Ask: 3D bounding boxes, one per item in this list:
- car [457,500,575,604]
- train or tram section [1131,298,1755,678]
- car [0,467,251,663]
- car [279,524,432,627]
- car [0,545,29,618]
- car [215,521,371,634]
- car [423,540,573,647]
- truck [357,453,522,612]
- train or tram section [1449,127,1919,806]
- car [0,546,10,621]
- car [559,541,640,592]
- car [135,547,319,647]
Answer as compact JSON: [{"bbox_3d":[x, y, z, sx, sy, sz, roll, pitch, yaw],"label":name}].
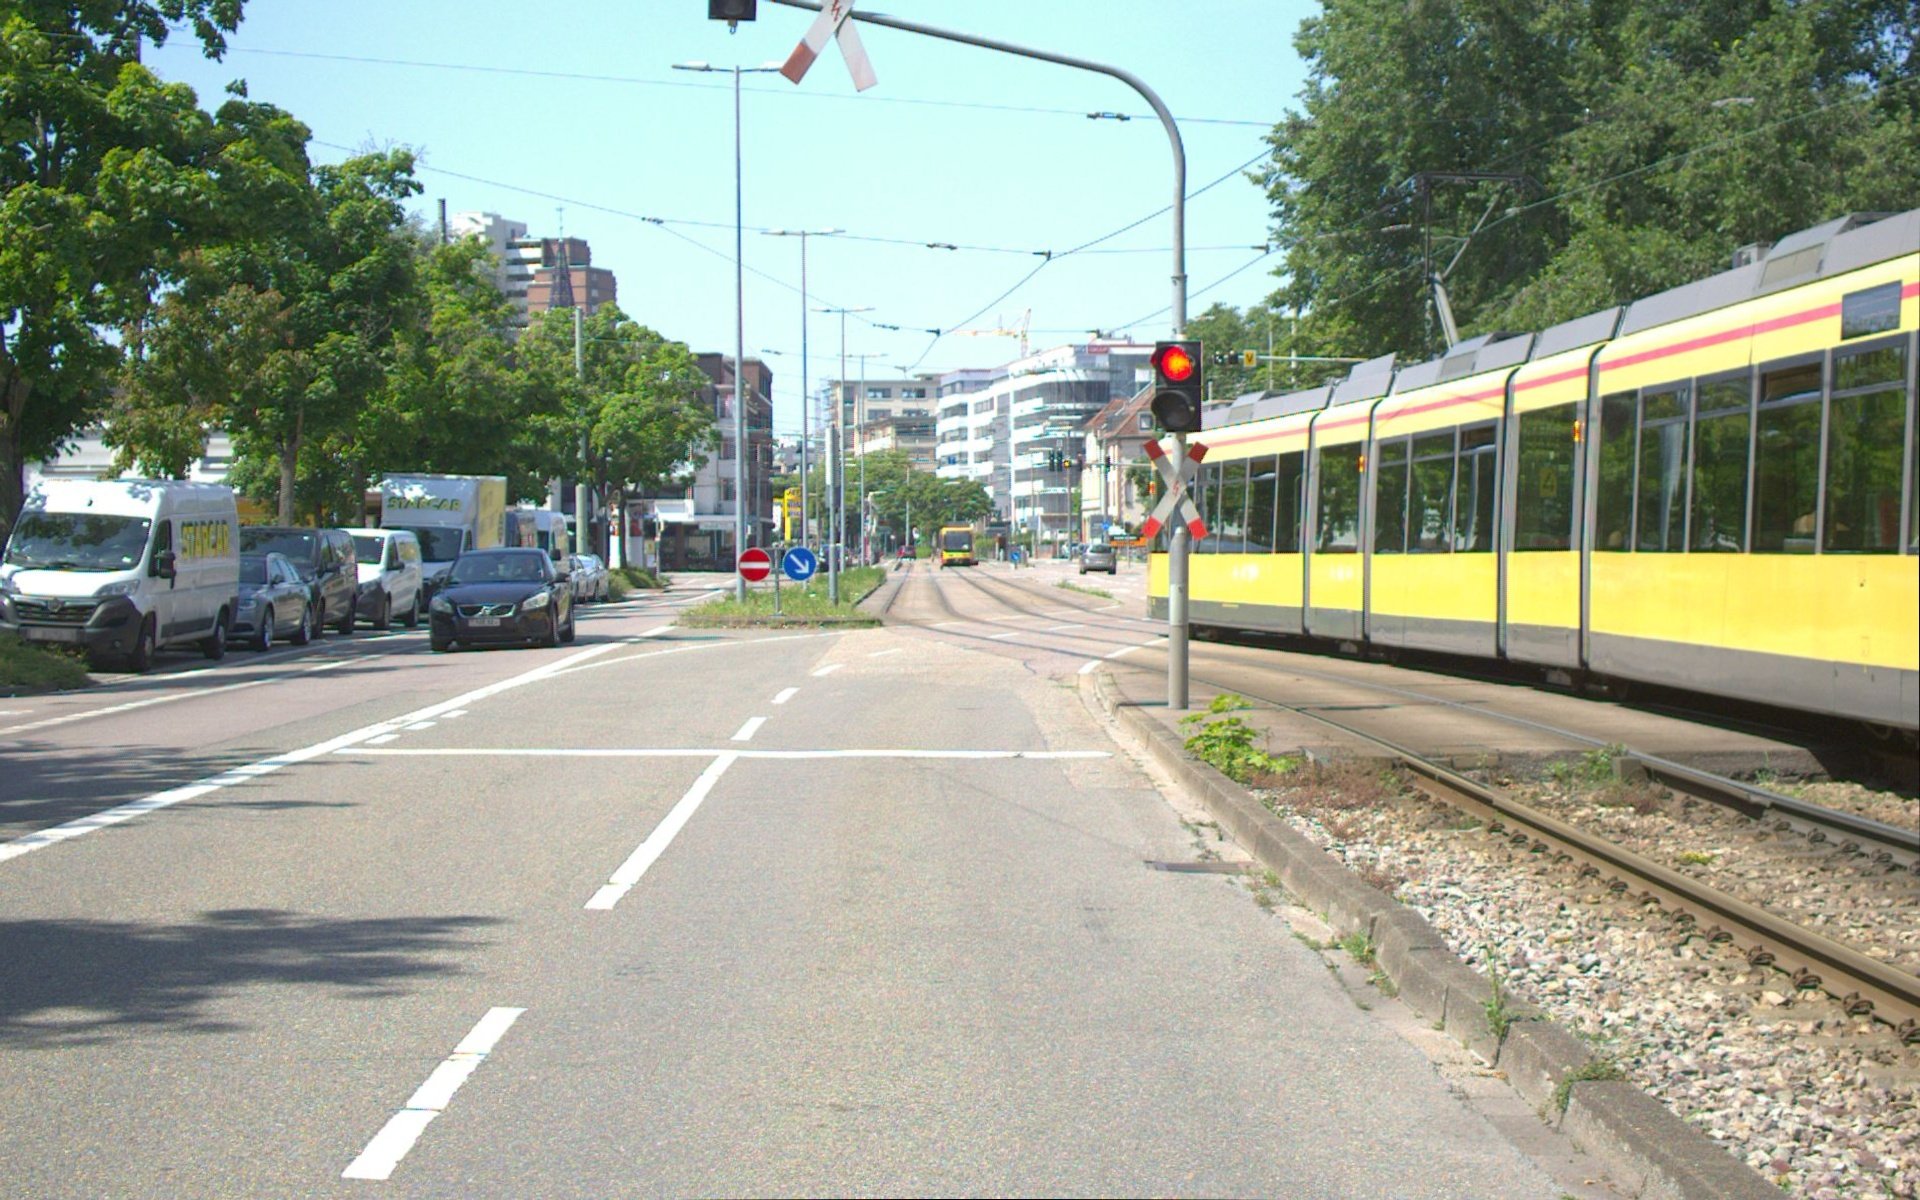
[{"bbox_3d":[-11.543,-1.272,89.750,2.157,2.630,5.611,-1,1,2],"label":"car"},{"bbox_3d":[5.226,-1.321,43.666,2.943,3.679,20.288,0,1,-6],"label":"train or tram section"},{"bbox_3d":[-11.410,-0.505,46.568,2.157,2.478,6.193,0,1,2],"label":"car"},{"bbox_3d":[-11.565,-0.501,66.068,2.061,1.891,4.871,-1,1,0],"label":"car"},{"bbox_3d":[-22.813,-0.396,76.010,3.987,1.601,1.805,-1,1,-1],"label":"car"},{"bbox_3d":[-11.616,-0.423,60.102,1.868,1.888,4.271,-1,1,0],"label":"car"},{"bbox_3d":[-6.561,-0.123,49.145,1.677,1.393,4.006,-3,1,-2],"label":"car"},{"bbox_3d":[-11.233,-1.478,74.729,2.157,3.199,7.082,3,1,2],"label":"truck"},{"bbox_3d":[6.518,-0.847,24.487,2.943,3.679,18.391,1,1,-1],"label":"train or tram section"},{"bbox_3d":[-22.604,-0.324,73.667,3.987,1.601,1.805,-1,1,-1],"label":"car"},{"bbox_3d":[-11.619,-1.089,111.004,2.061,1.576,4.871,-1,1,0],"label":"car"},{"bbox_3d":[-11.210,-0.081,52.857,1.868,1.432,4.343,-1,1,0],"label":"car"}]
